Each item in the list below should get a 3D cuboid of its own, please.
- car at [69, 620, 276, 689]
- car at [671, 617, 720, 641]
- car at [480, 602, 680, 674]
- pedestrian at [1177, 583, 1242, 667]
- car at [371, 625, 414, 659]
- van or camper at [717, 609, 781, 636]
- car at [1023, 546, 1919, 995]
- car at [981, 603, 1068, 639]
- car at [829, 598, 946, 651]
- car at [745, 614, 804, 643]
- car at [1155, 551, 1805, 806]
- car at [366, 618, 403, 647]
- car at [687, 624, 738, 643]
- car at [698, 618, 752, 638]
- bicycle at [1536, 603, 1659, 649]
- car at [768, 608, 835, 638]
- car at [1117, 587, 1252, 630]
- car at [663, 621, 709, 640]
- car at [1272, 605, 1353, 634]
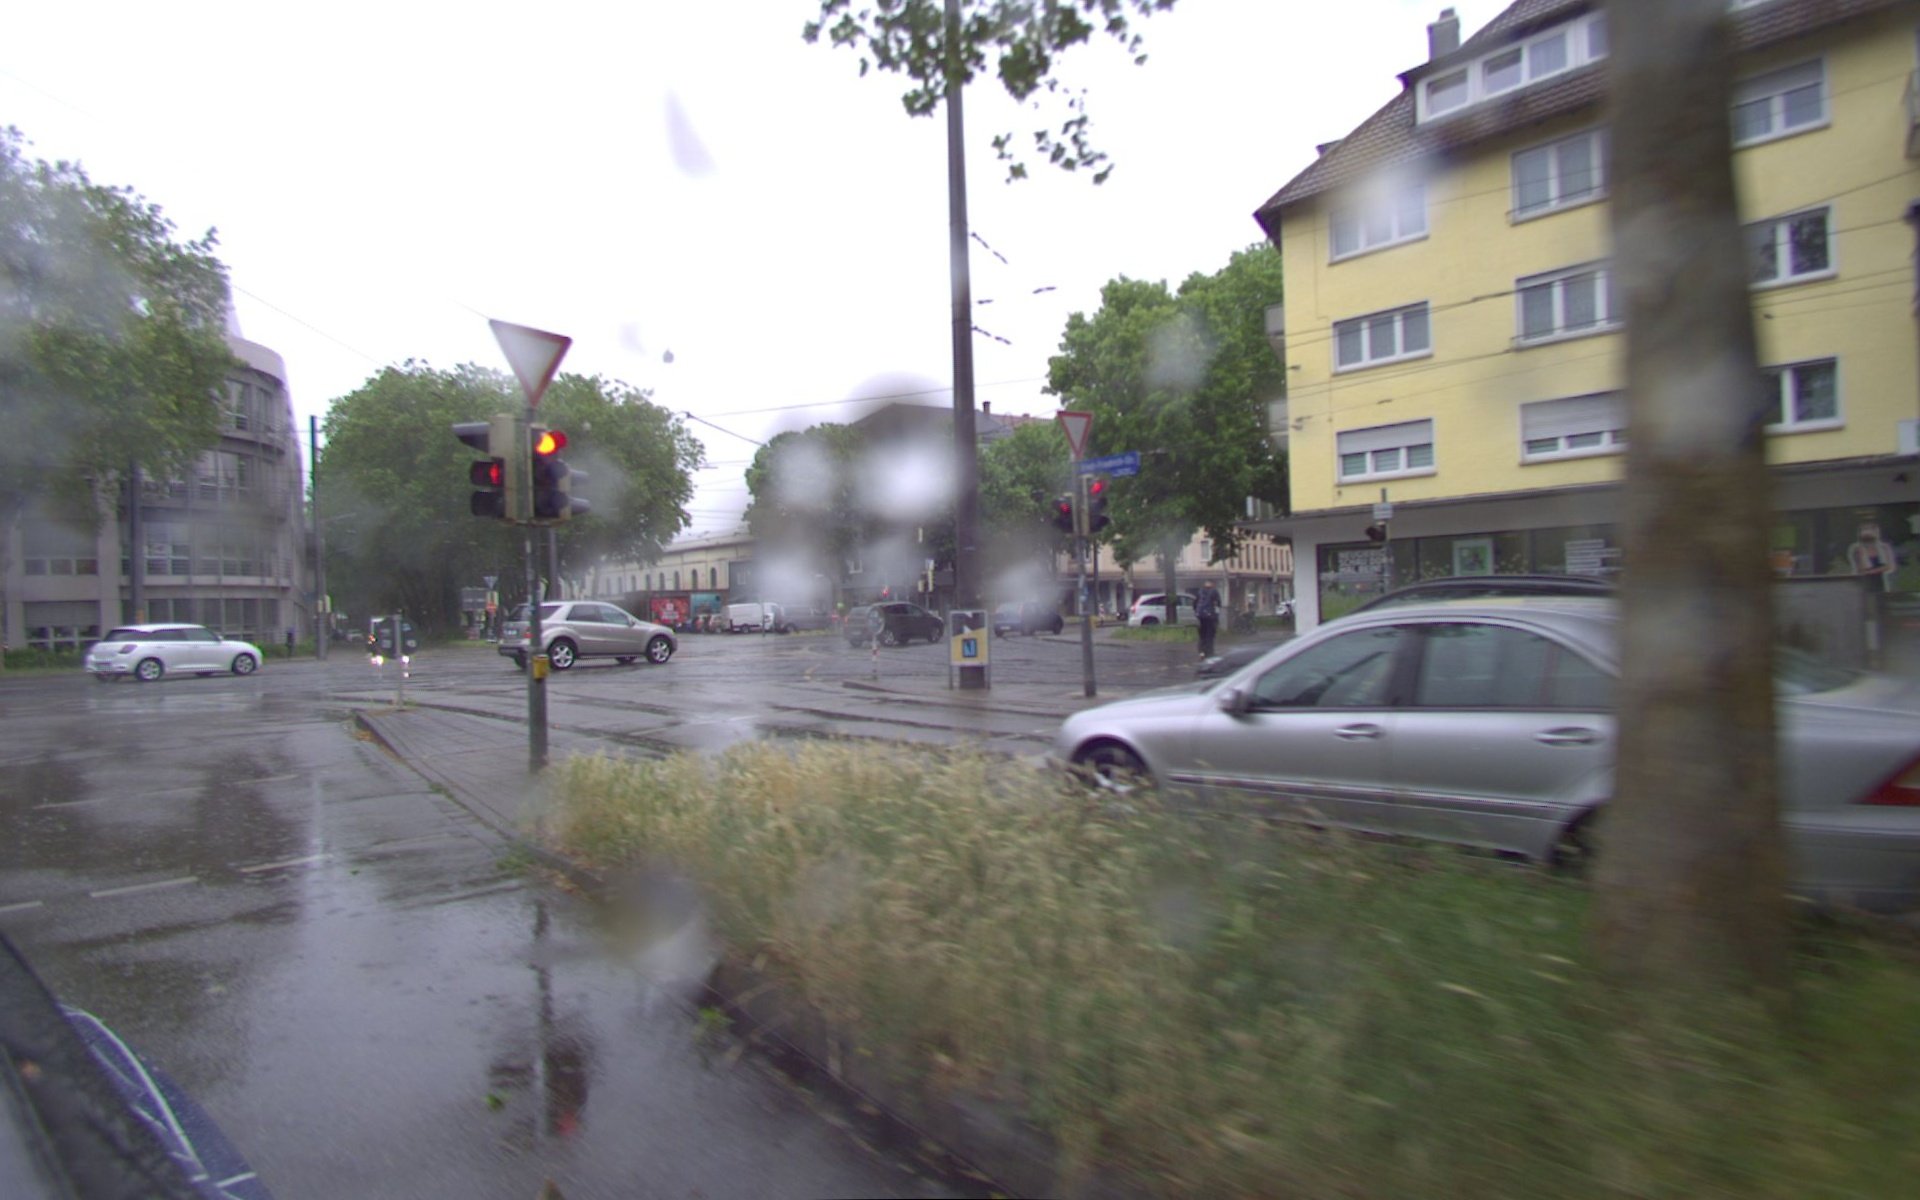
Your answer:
[{"bbox_3d":[-20.966,1.408,27.158,1.794,1.599,4.046,-2,0,20],"label":"car"},{"bbox_3d":[-23.544,2.599,90.218,3.931,1.943,2.007,-1,0,-23],"label":"car"},{"bbox_3d":[-9.991,0.929,26.920,1.913,1.659,4.616,-1,0,41],"label":"car"},{"bbox_3d":[5.225,0.516,21.223,0.999,1.690,0.817,-1,-1,-31],"label":"pedestrian"},{"bbox_3d":[-33.154,2.432,59.156,1.772,1.785,4.013,-3,0,-24],"label":"car"},{"bbox_3d":[-16.600,1.747,79.660,4.577,2.091,2.005,0,-1,-34],"label":"van or camper"},{"bbox_3d":[2.581,0.609,5.273,1.714,1.500,4.504,-2,-1,-43],"label":"car"},{"bbox_3d":[2.863,0.937,44.219,1.888,1.470,3.779,-1,-3,41],"label":"car"},{"bbox_3d":[-2.575,0.842,36.691,1.807,1.722,4.133,-1,0,41],"label":"car"},{"bbox_3d":[-14.232,2.168,77.802,3.938,2.029,2.003,-2,0,-41],"label":"car"},{"bbox_3d":[3.939,0.523,8.131,4.283,1.513,1.854,-3,-1,42],"label":"car"},{"bbox_3d":[-36.902,2.076,64.822,1.971,1.785,4.012,0,-1,-31],"label":"car"},{"bbox_3d":[-21.525,2.880,88.022,3.932,1.626,2.006,1,-2,-32],"label":"car"},{"bbox_3d":[-19.449,2.294,83.846,3.932,1.626,2.006,1,-2,-32],"label":"car"},{"bbox_3d":[13.212,0.547,21.017,0.604,0.903,2.048,-1,-1,-43],"label":"bicycle"},{"bbox_3d":[-11.506,1.631,73.267,4.322,2.029,2.074,-1,0,-27],"label":"car"},{"bbox_3d":[9.010,0.345,40.636,4.960,1.485,1.983,-3,-1,25],"label":"car"},{"bbox_3d":[-25.978,2.878,96.059,3.931,1.668,1.792,1,-1,-27],"label":"car"},{"bbox_3d":[20.209,1.111,58.126,3.945,1.625,1.999,0,-1,2],"label":"car"}]
